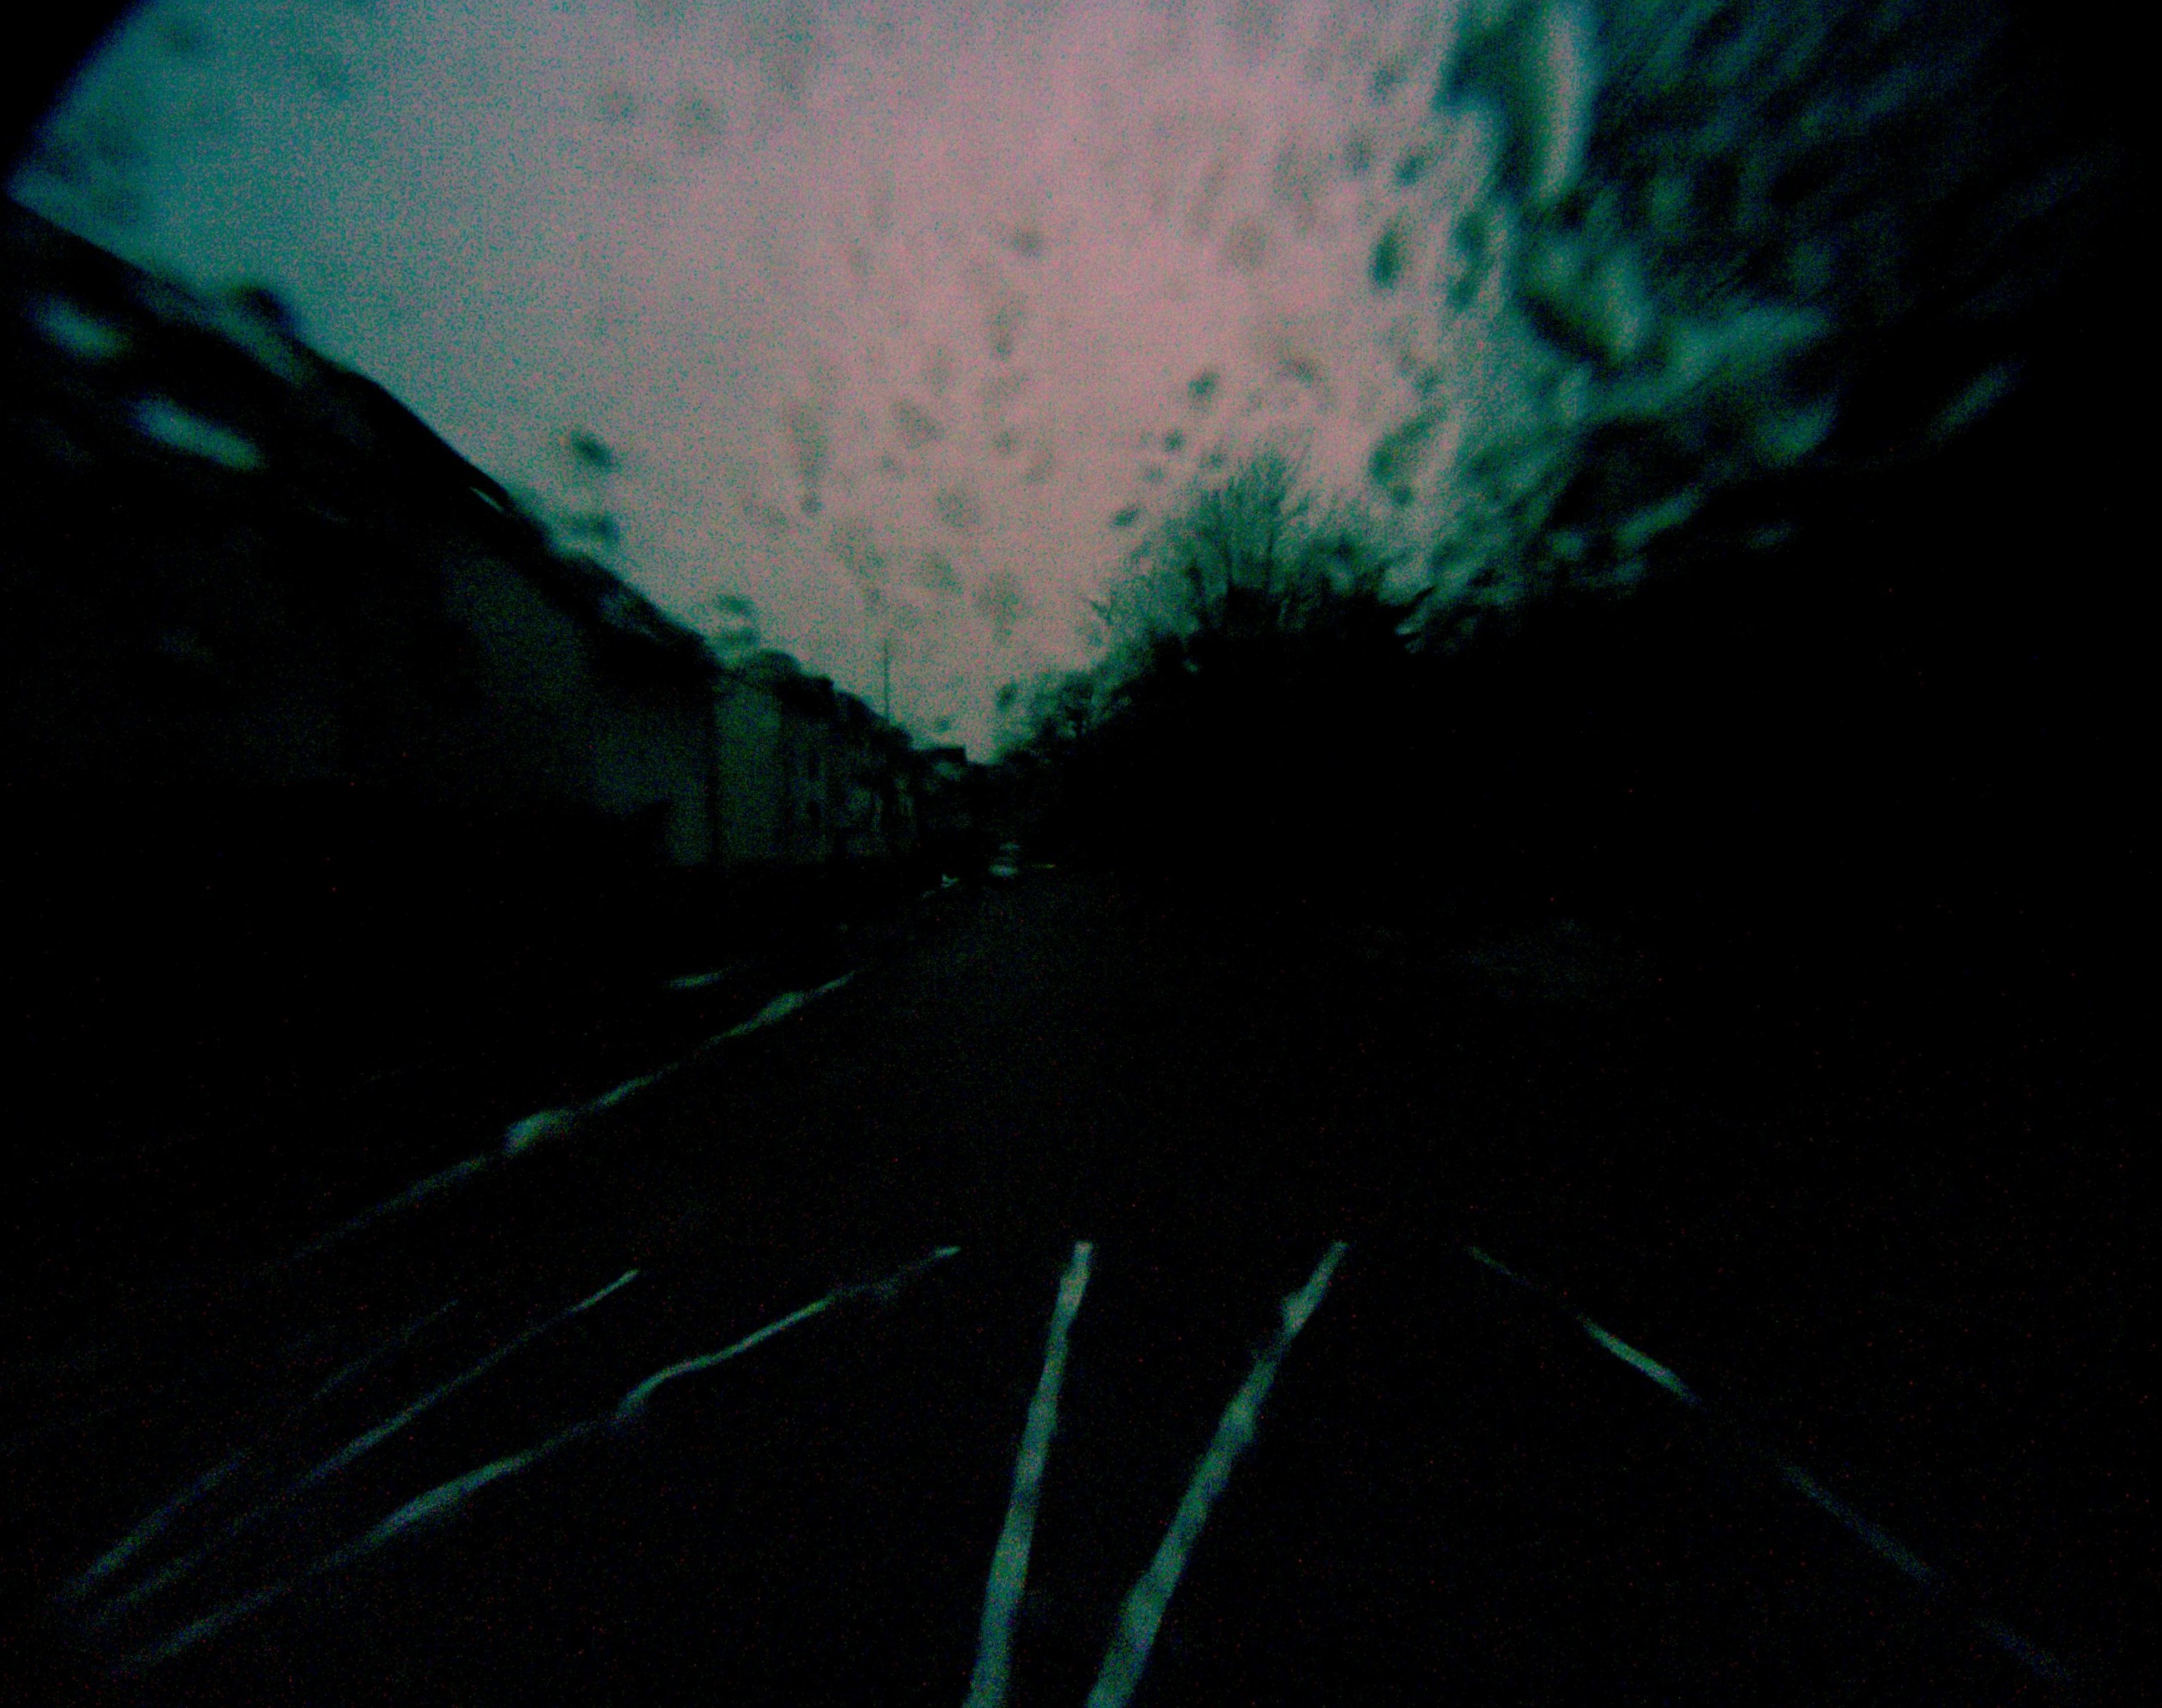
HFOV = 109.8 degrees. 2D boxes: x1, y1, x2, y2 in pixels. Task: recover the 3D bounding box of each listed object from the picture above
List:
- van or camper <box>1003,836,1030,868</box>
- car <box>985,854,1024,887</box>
[{"bbox_3d":[-5.412,-0.151,62.903,2.020,2.493,6.789,-1,0,-6],"label":"van or camper"},{"bbox_3d":[-3.779,0.777,37.840,1.743,1.421,4.454,-3,1,-5],"label":"car"}]
